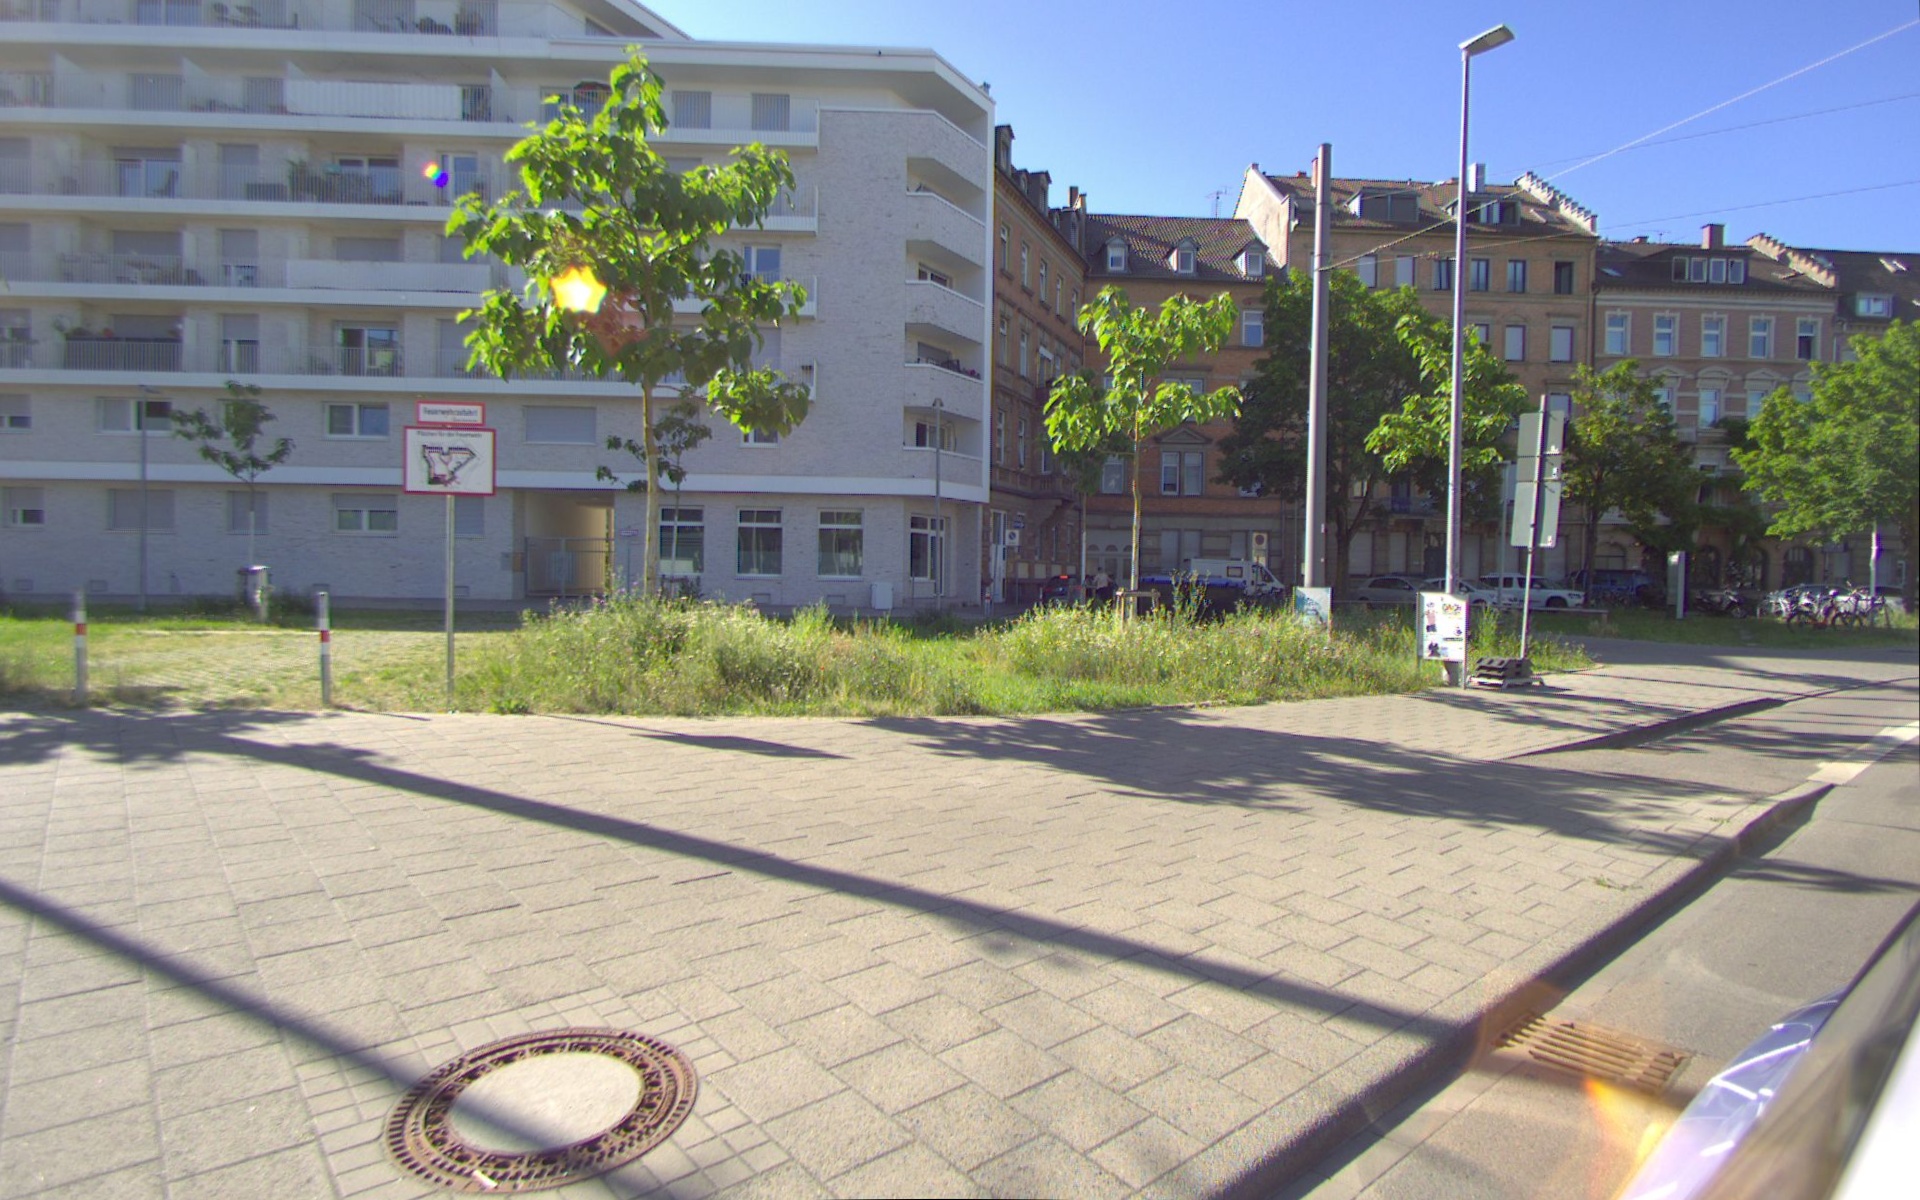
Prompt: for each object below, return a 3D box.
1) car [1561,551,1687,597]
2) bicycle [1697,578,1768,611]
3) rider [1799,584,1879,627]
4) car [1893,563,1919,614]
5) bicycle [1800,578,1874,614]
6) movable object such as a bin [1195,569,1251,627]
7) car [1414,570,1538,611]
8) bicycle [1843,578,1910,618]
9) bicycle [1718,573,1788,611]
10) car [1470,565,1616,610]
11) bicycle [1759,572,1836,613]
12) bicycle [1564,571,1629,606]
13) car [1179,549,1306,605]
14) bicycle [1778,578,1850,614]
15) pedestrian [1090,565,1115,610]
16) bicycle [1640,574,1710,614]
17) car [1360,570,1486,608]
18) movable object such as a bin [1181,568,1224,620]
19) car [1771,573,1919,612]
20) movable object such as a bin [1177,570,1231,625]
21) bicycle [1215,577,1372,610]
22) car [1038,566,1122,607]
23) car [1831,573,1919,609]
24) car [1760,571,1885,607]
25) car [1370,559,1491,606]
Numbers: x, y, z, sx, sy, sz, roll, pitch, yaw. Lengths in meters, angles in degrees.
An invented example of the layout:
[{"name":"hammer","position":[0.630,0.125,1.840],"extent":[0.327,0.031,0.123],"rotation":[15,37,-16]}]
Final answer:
[{"name":"car","position":[31.369,-1.240,47.901],"extent":[4.631,2.001,2.002],"rotation":[1,3,-3]},{"name":"bicycle","position":[28.581,-0.211,37.500],"extent":[0.806,1.173,2.172],"rotation":[1,1,-6]},{"name":"rider","position":[25.014,0.163,28.825],"extent":[1.652,1.191,0.501],"rotation":[-1,1,15]},{"name":"car","position":[40.644,-0.375,40.232],"extent":[2.062,2.037,4.882],"rotation":[-2,4,-36]},{"name":"bicycle","position":[31.933,-0.169,36.897],"extent":[0.882,1.195,1.953],"rotation":[0,3,-3]},{"name":"movable object such as a bin","position":[6.709,-0.067,25.783],"extent":[1.286,1.416,1.066],"rotation":[1,1,18]},{"name":"car","position":[19.641,-0.400,38.653],"extent":[1.726,1.459,3.846],"rotation":[0,2,-33]},{"name":"bicycle","position":[31.569,-0.088,34.887],"extent":[1.589,1.306,0.760],"rotation":[3,3,38]},{"name":"bicycle","position":[29.458,-0.300,37.644],"extent":[0.771,1.382,2.103],"rotation":[0,1,-8]},{"name":"car","position":[22.335,-0.519,38.940],"extent":[1.900,1.585,4.473],"rotation":[0,2,-33]},{"name":"bicycle","position":[29.210,-0.295,35.342],"extent":[0.771,1.382,2.103],"rotation":[0,1,-8]},{"name":"bicycle","position":[25.790,-0.481,41.049],"extent":[0.774,1.382,2.096],"rotation":[0,2,-42]},{"name":"car","position":[13.026,-1.091,46.886],"extent":[5.087,2.385,2.359],"rotation":[1,3,-1]},{"name":"bicycle","position":[31.031,-0.174,36.799],"extent":[0.825,1.206,1.966],"rotation":[1,3,-3]},{"name":"pedestrian","position":[5.179,-0.459,36.819],"extent":[0.756,1.596,0.643],"rotation":[0,1,-2]},{"name":"bicycle","position":[26.250,-0.231,37.195],"extent":[0.771,1.416,2.105],"rotation":[0,1,-13]},{"name":"car","position":[17.358,-0.444,38.105],"extent":[1.802,1.354,4.063],"rotation":[0,2,-27]},{"name":"movable object such as a bin","position":[6.789,-0.174,28.282],"extent":[1.076,1.416,1.026],"rotation":[1,1,18]},{"name":"car","position":[34.921,-0.332,39.495],"extent":[2.007,1.397,4.753],"rotation":[0,2,-35]},{"name":"movable object such as a bin","position":[6.516,-0.081,27.011],"extent":[1.303,1.416,1.105],"rotation":[1,1,18]},{"name":"bicycle","position":[12.923,-0.272,39.449],"extent":[5.116,1.141,2.687],"rotation":[1,1,-7]},{"name":"car","position":[4.562,-0.532,37.898],"extent":[1.979,1.454,4.074],"rotation":[1,1,24]},{"name":"car","position":[37.466,-0.372,40.484],"extent":[1.889,1.397,3.615],"rotation":[0,2,-35]},{"name":"car","position":[41.621,-0.529,48.901],"extent":[4.422,1.547,2.004],"rotation":[1,3,-6]},{"name":"car","position":[22.009,-0.824,47.491],"extent":[4.632,2.001,2.002],"rotation":[1,3,-2]}]
